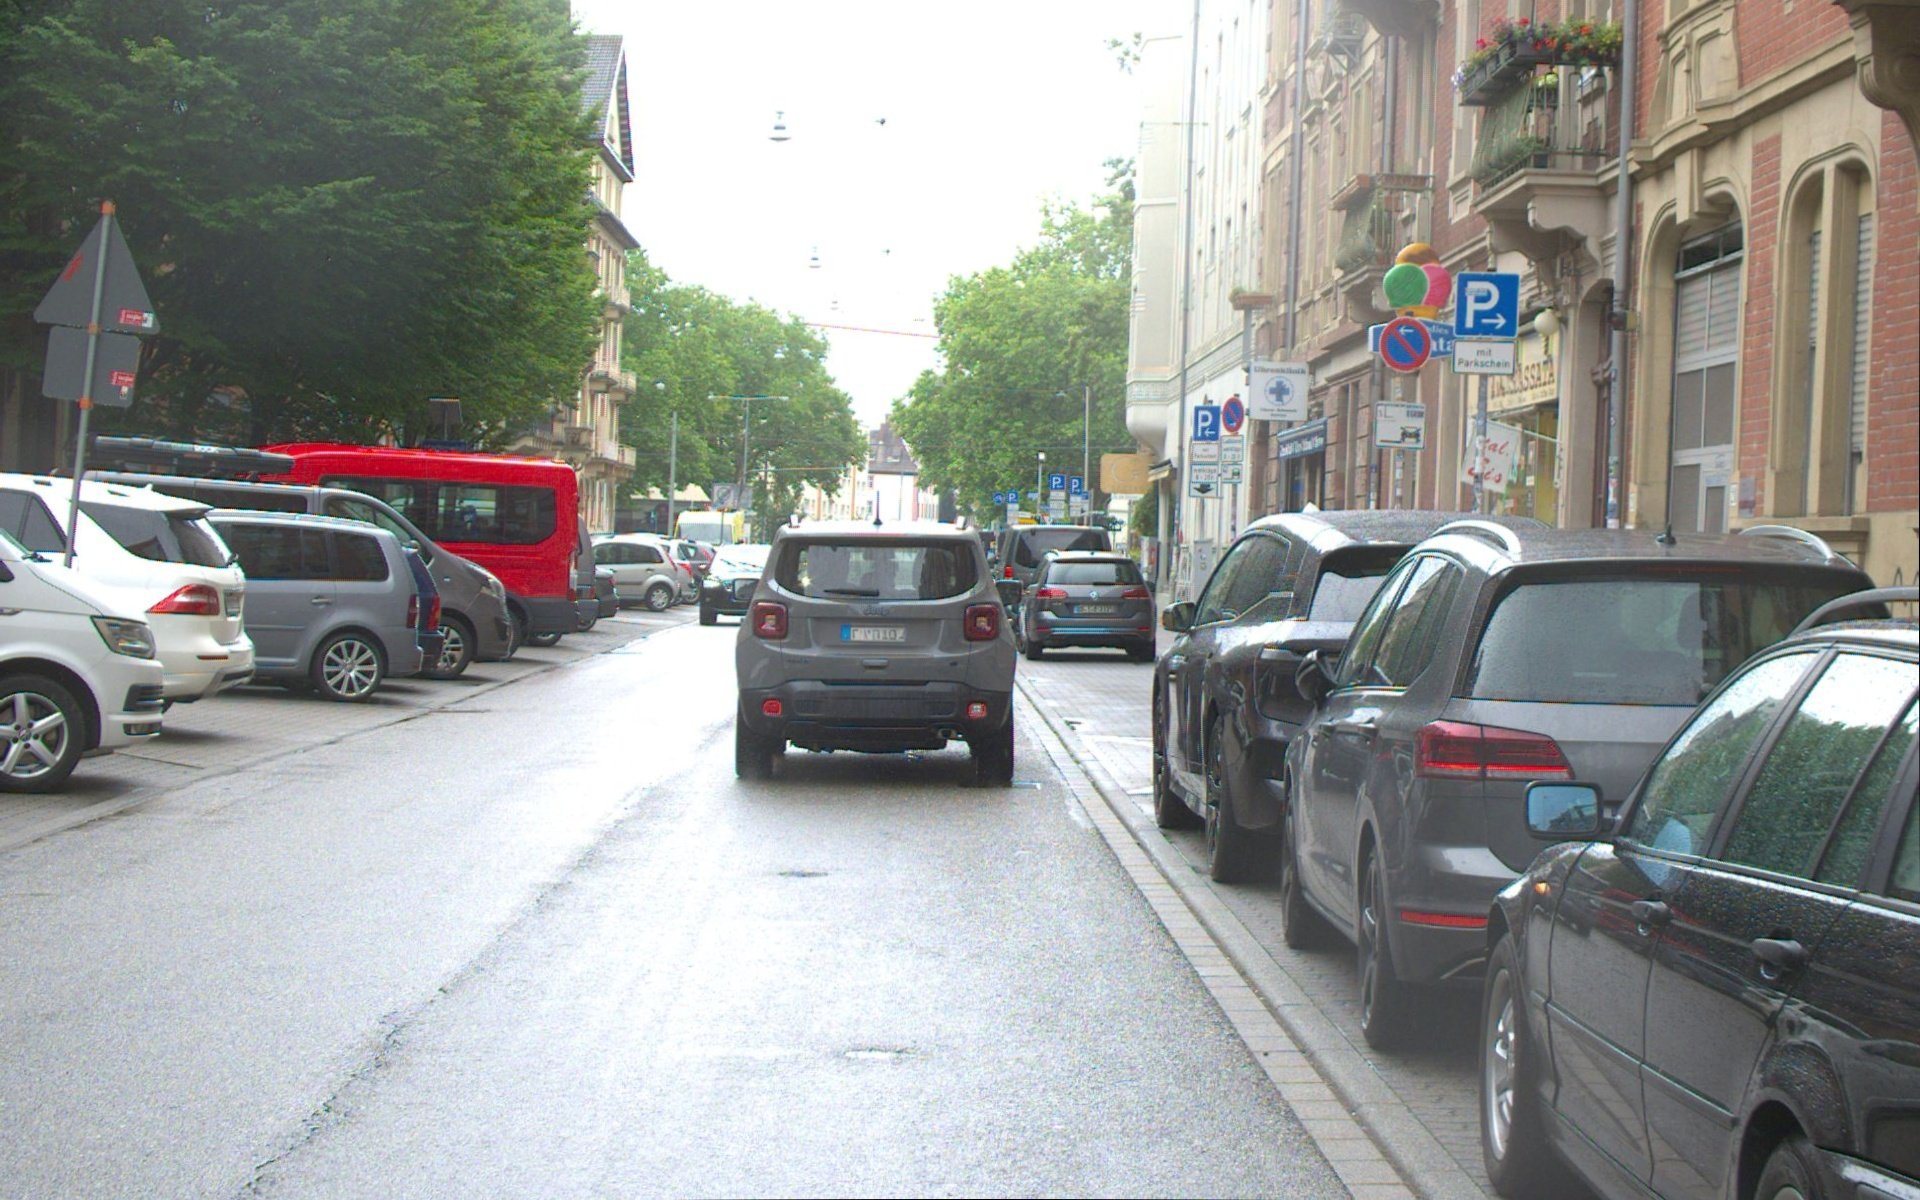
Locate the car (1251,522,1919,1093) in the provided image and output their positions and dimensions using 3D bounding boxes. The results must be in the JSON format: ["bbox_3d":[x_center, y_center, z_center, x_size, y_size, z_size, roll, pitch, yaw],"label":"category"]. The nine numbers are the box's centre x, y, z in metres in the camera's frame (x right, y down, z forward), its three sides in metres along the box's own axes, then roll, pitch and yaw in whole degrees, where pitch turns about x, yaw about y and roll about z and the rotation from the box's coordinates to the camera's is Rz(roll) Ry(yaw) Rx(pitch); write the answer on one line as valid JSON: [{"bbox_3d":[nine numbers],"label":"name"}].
[{"bbox_3d":[2.117,0.534,11.640,1.871,1.556,4.345,1,1,0],"label":"car"}]

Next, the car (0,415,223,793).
[{"bbox_3d":[-6.967,-0.047,19.154,5.235,2.071,1.871,2,0,-25],"label":"car"}]

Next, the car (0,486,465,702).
[{"bbox_3d":[-6.910,-0.074,30.835,4.430,1.625,1.845,4,1,-27],"label":"car"}]

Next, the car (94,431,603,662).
[{"bbox_3d":[-7.368,-0.632,41.527,5.554,2.532,2.230,2,1,-28],"label":"car"}]

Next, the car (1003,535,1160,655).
[{"bbox_3d":[1.609,-0.093,46.867,1.841,1.540,4.004,1,1,-2],"label":"car"}]

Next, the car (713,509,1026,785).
[{"bbox_3d":[-0.628,0.259,23.419,1.898,1.665,4.506,1,1,-2],"label":"car"}]

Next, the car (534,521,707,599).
[{"bbox_3d":[-7.427,-0.872,75.164,3.375,1.648,1.634,0,1,-33],"label":"car"}]

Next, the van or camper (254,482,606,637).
[{"bbox_3d":[-7.336,-0.552,47.756,4.434,1.968,1.781,2,1,-34],"label":"van or camper"}]

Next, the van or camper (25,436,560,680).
[{"bbox_3d":[-7.034,-0.432,36.254,5.008,2.341,2.345,2,1,-27],"label":"van or camper"}]

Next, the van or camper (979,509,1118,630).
[{"bbox_3d":[1.402,-0.525,56.301,2.021,1.884,5.055,1,1,-1],"label":"van or camper"}]

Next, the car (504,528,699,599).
[{"bbox_3d":[-7.529,-0.771,72.284,3.702,1.447,1.685,0,1,-36],"label":"car"}]

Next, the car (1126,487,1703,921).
[{"bbox_3d":[2.014,0.402,16.767,1.993,1.773,4.827,1,1,-2],"label":"car"}]

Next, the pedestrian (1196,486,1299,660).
[{"bbox_3d":[3.437,-0.327,41.093,0.680,1.928,0.808,1,-13,34],"label":"pedestrian"}]

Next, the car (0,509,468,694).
[{"bbox_3d":[-7.152,0.008,33.287,4.341,1.499,1.755,3,1,-23],"label":"car"}]

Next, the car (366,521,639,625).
[{"bbox_3d":[-7.360,-0.428,55.484,3.967,1.442,1.767,3,1,-41],"label":"car"}]

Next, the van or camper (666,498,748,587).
[{"bbox_3d":[-7.972,-1.769,108.940,2.121,2.522,6.875,-2,-1,-1],"label":"van or camper"}]

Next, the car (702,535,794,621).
[{"bbox_3d":[-4.060,-0.441,66.105,1.669,1.554,4.004,2,1,-3],"label":"car"}]

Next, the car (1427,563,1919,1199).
[{"bbox_3d":[2.092,0.696,6.414,1.787,1.461,4.484,2,1,0],"label":"car"}]

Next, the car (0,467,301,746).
[{"bbox_3d":[-7.289,-0.087,24.604,4.578,1.779,2.546,4,1,-1],"label":"car"}]
